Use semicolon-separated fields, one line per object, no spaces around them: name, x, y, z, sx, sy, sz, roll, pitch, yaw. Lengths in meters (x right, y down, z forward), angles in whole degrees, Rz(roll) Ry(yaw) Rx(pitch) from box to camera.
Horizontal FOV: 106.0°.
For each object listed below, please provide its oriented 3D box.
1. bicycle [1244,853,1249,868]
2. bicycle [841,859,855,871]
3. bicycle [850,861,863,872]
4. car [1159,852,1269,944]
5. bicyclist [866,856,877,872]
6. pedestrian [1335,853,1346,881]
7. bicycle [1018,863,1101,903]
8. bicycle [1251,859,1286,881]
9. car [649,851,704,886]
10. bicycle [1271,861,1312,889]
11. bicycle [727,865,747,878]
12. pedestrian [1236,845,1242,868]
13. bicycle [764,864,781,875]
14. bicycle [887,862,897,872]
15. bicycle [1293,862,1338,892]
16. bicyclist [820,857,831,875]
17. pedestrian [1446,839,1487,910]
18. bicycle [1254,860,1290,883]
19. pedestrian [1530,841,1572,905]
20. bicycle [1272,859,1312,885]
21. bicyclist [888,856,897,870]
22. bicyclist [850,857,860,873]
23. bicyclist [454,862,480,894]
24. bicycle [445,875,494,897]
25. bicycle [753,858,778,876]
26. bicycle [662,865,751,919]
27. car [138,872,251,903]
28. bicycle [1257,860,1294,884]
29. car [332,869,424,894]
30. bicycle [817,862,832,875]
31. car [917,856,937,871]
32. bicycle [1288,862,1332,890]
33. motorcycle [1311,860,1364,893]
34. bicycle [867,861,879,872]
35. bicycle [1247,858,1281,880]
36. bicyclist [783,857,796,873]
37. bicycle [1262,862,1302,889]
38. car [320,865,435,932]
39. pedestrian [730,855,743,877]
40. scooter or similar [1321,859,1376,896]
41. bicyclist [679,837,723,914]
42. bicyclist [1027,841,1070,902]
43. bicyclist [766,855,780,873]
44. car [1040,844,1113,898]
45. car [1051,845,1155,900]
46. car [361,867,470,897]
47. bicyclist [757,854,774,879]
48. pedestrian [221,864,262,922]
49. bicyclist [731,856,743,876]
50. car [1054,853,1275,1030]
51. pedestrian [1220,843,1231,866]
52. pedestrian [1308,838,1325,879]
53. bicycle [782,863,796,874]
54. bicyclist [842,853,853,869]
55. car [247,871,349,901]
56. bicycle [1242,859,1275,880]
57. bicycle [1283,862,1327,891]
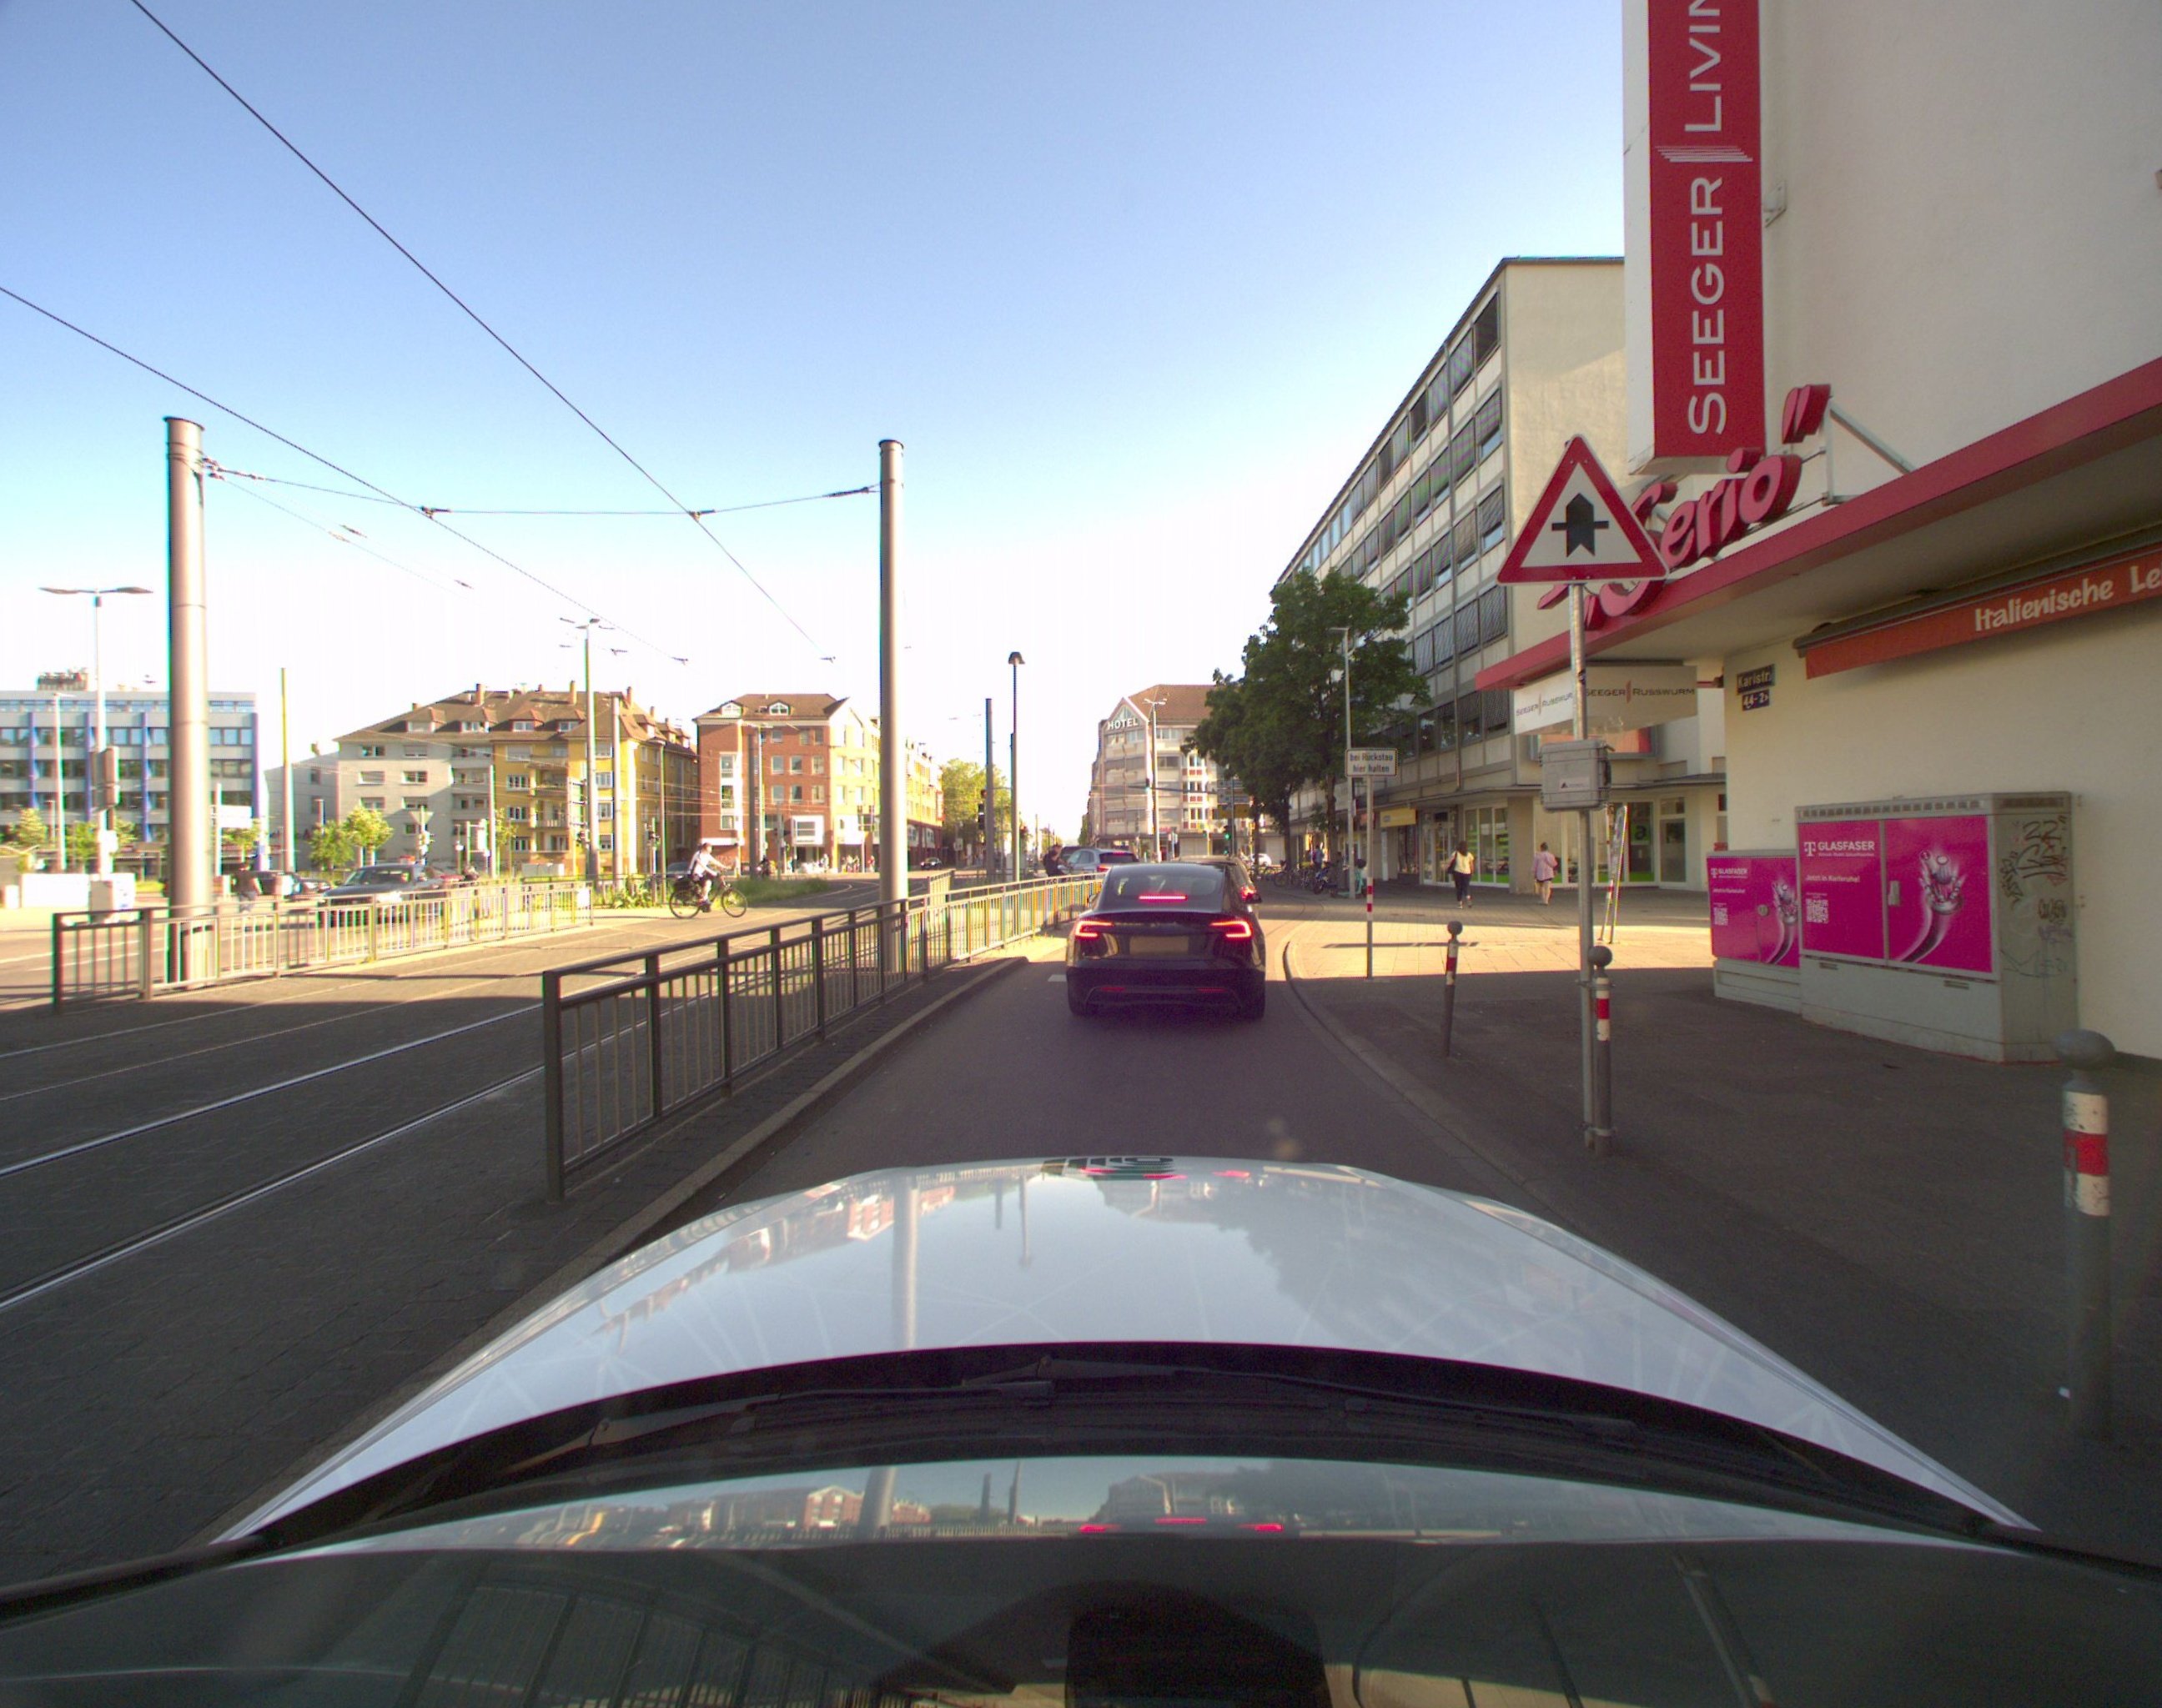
bicycle;12.257;0.490;60.278;0.330;1.034;1.260;-3;-1;11
bicycle;-22.287;1.049;77.900;0.527;1.088;2.286;-2;0;4
bicycle;-22.329;1.236;81.155;0.527;1.088;2.286;0;-1;4
car;2.414;0.705;15.027;1.741;1.454;4.009;-1;0;8
bicyclist;-20.903;1.029;81.195;0.780;1.563;0.747;-1;0;3
pedestrian;12.779;0.649;40.094;0.388;1.343;0.513;0;-1;4
bicycle;-0.578;0.788;22.565;2.346;1.053;0.624;0;-1;-36
bicycle;9.281;0.799;40.258;1.643;1.099;0.350;0;-1;3
car;-19.121;0.673;38.634;1.715;1.527;4.012;0;-1;-17
bicycle;8.616;0.848;33.327;1.649;1.099;0.349;0;-1;-9
bicycle;-26.023;1.330;61.665;0.445;0.972;2.247;0;-1;2
pedestrian;11.801;0.172;60.711;0.400;1.710;0.529;-1;-1;9
bicycle;-25.931;1.297;68.518;0.522;0.972;2.247;0;-1;2
bicycle;-21.561;1.449;92.837;0.527;1.088;2.227;0;-1;4
bicycle;8.894;0.860;30.946;1.649;1.099;0.349;0;-1;-9
bicyclist;-22.594;1.031;72.018;0.780;1.563;0.747;0;-1;3
pedestrian;9.892;0.514;20.913;0.906;1.752;1.044;-1;0;25
bicycle;9.205;0.842;39.245;1.643;1.099;0.350;0;-1;3
pedestrian;12.553;0.499;21.774;0.881;1.667;0.813;-1;-1;25
bicycle;9.118;0.792;35.266;1.643;1.099;0.350;0;-1;3
bicyclist;-21.539;1.021;92.947;0.780;1.563;0.747;0;-1;3
bicyclist;-22.339;1.068;80.542;0.780;1.563;0.747;-1;0;3
bicyclist;-34.669;1.334;45.964;0.900;1.808;0.788;0;-1;-10
bicycle;-34.516;1.813;45.991;2.188;1.214;0.544;0;-1;-11
bicycle;-19.348;0.767;49.930;0.456;1.093;2.205;0;-1;6
bicycle;-8.831;0.891;19.252;1.848;1.222;0.484;0;-1;-10
car;-50.615;1.878;46.571;3.952;1.685;1.903;0;-1;-11
bicycle;9.140;0.837;38.219;1.643;1.099;0.350;0;-1;3
car;-44.142;1.721;51.203;3.990;1.483;1.786;0;-1;-12
bicycle;-22.641;1.264;71.875;0.535;1.088;2.227;0;-1;4
car;-18.267;1.164;96.757;1.692;1.731;3.706;0;-1;0
bicycle;8.816;0.856;31.370;1.649;1.061;0.349;0;-1;-9
motorcycle;9.143;0.795;29.059;1.701;1.173;0.541;0;-1;0
bicycle;-20.881;1.219;81.848;0.527;1.088;2.227;-1;0;4
bicycle;9.263;0.761;41.306;1.643;1.099;0.350;-1;0;3
bicyclist;-26.847;0.992;74.929;0.699;1.471;0.975;-1;0;9
bicycle;8.443;0.901;34.196;1.649;1.099;0.349;0;-1;-9
car;-17.821;1.047;20.808;1.651;1.526;3.826;0;-1;-32
pedestrian;-28.679;1.014;67.801;0.780;1.820;0.747;0;-1;3
scooter or similar;8.897;0.764;27.106;1.625;1.215;0.649;-1;-1;32
bicyclist;-8.978;0.496;19.244;0.750;1.759;0.756;0;-1;-9
bicyclist;-0.892;0.472;22.245;0.763;1.628;0.967;0;-1;-37
bicyclist;-25.940;0.868;68.496;0.895;1.503;0.696;0;-1;1
car;-0.239;0.666;32.864;1.997;2.014;3.980;-1;0;-15
car;0.616;0.572;26.608;1.891;1.662;4.126;0;-1;-23
car;-39.441;1.654;48.384;4.585;1.700;1.993;0;-1;-10
bicyclist;-19.366;0.753;49.928;0.781;1.527;0.590;0;-1;6
pedestrian;-24.597;1.124;23.870;0.778;1.681;0.585;0;-1;-41
bicyclist;-26.033;0.919;61.663;0.631;1.503;0.696;0;-1;1
car;0.925;0.741;8.798;1.820;1.455;4.007;0;-1;7
pedestrian;10.727;0.042;60.540;0.697;1.662;0.777;0;-1;1
pedestrian;11.764;0.220;40.673;0.659;2.014;0.580;0;-1;4
bicycle;-26.838;1.359;74.966;0.402;0.981;1.699;-1;-1;10
bicyclist;-22.320;0.680;77.982;0.780;1.563;0.747;-1;0;3
car;-45.494;1.839;47.387;3.984;1.672;1.772;0;-1;-8
bicycle;9.244;0.791;42.400;1.643;1.099;0.350;0;-1;3
bicycle;8.730;0.860;31.796;1.649;1.099;0.349;0;-1;-9
